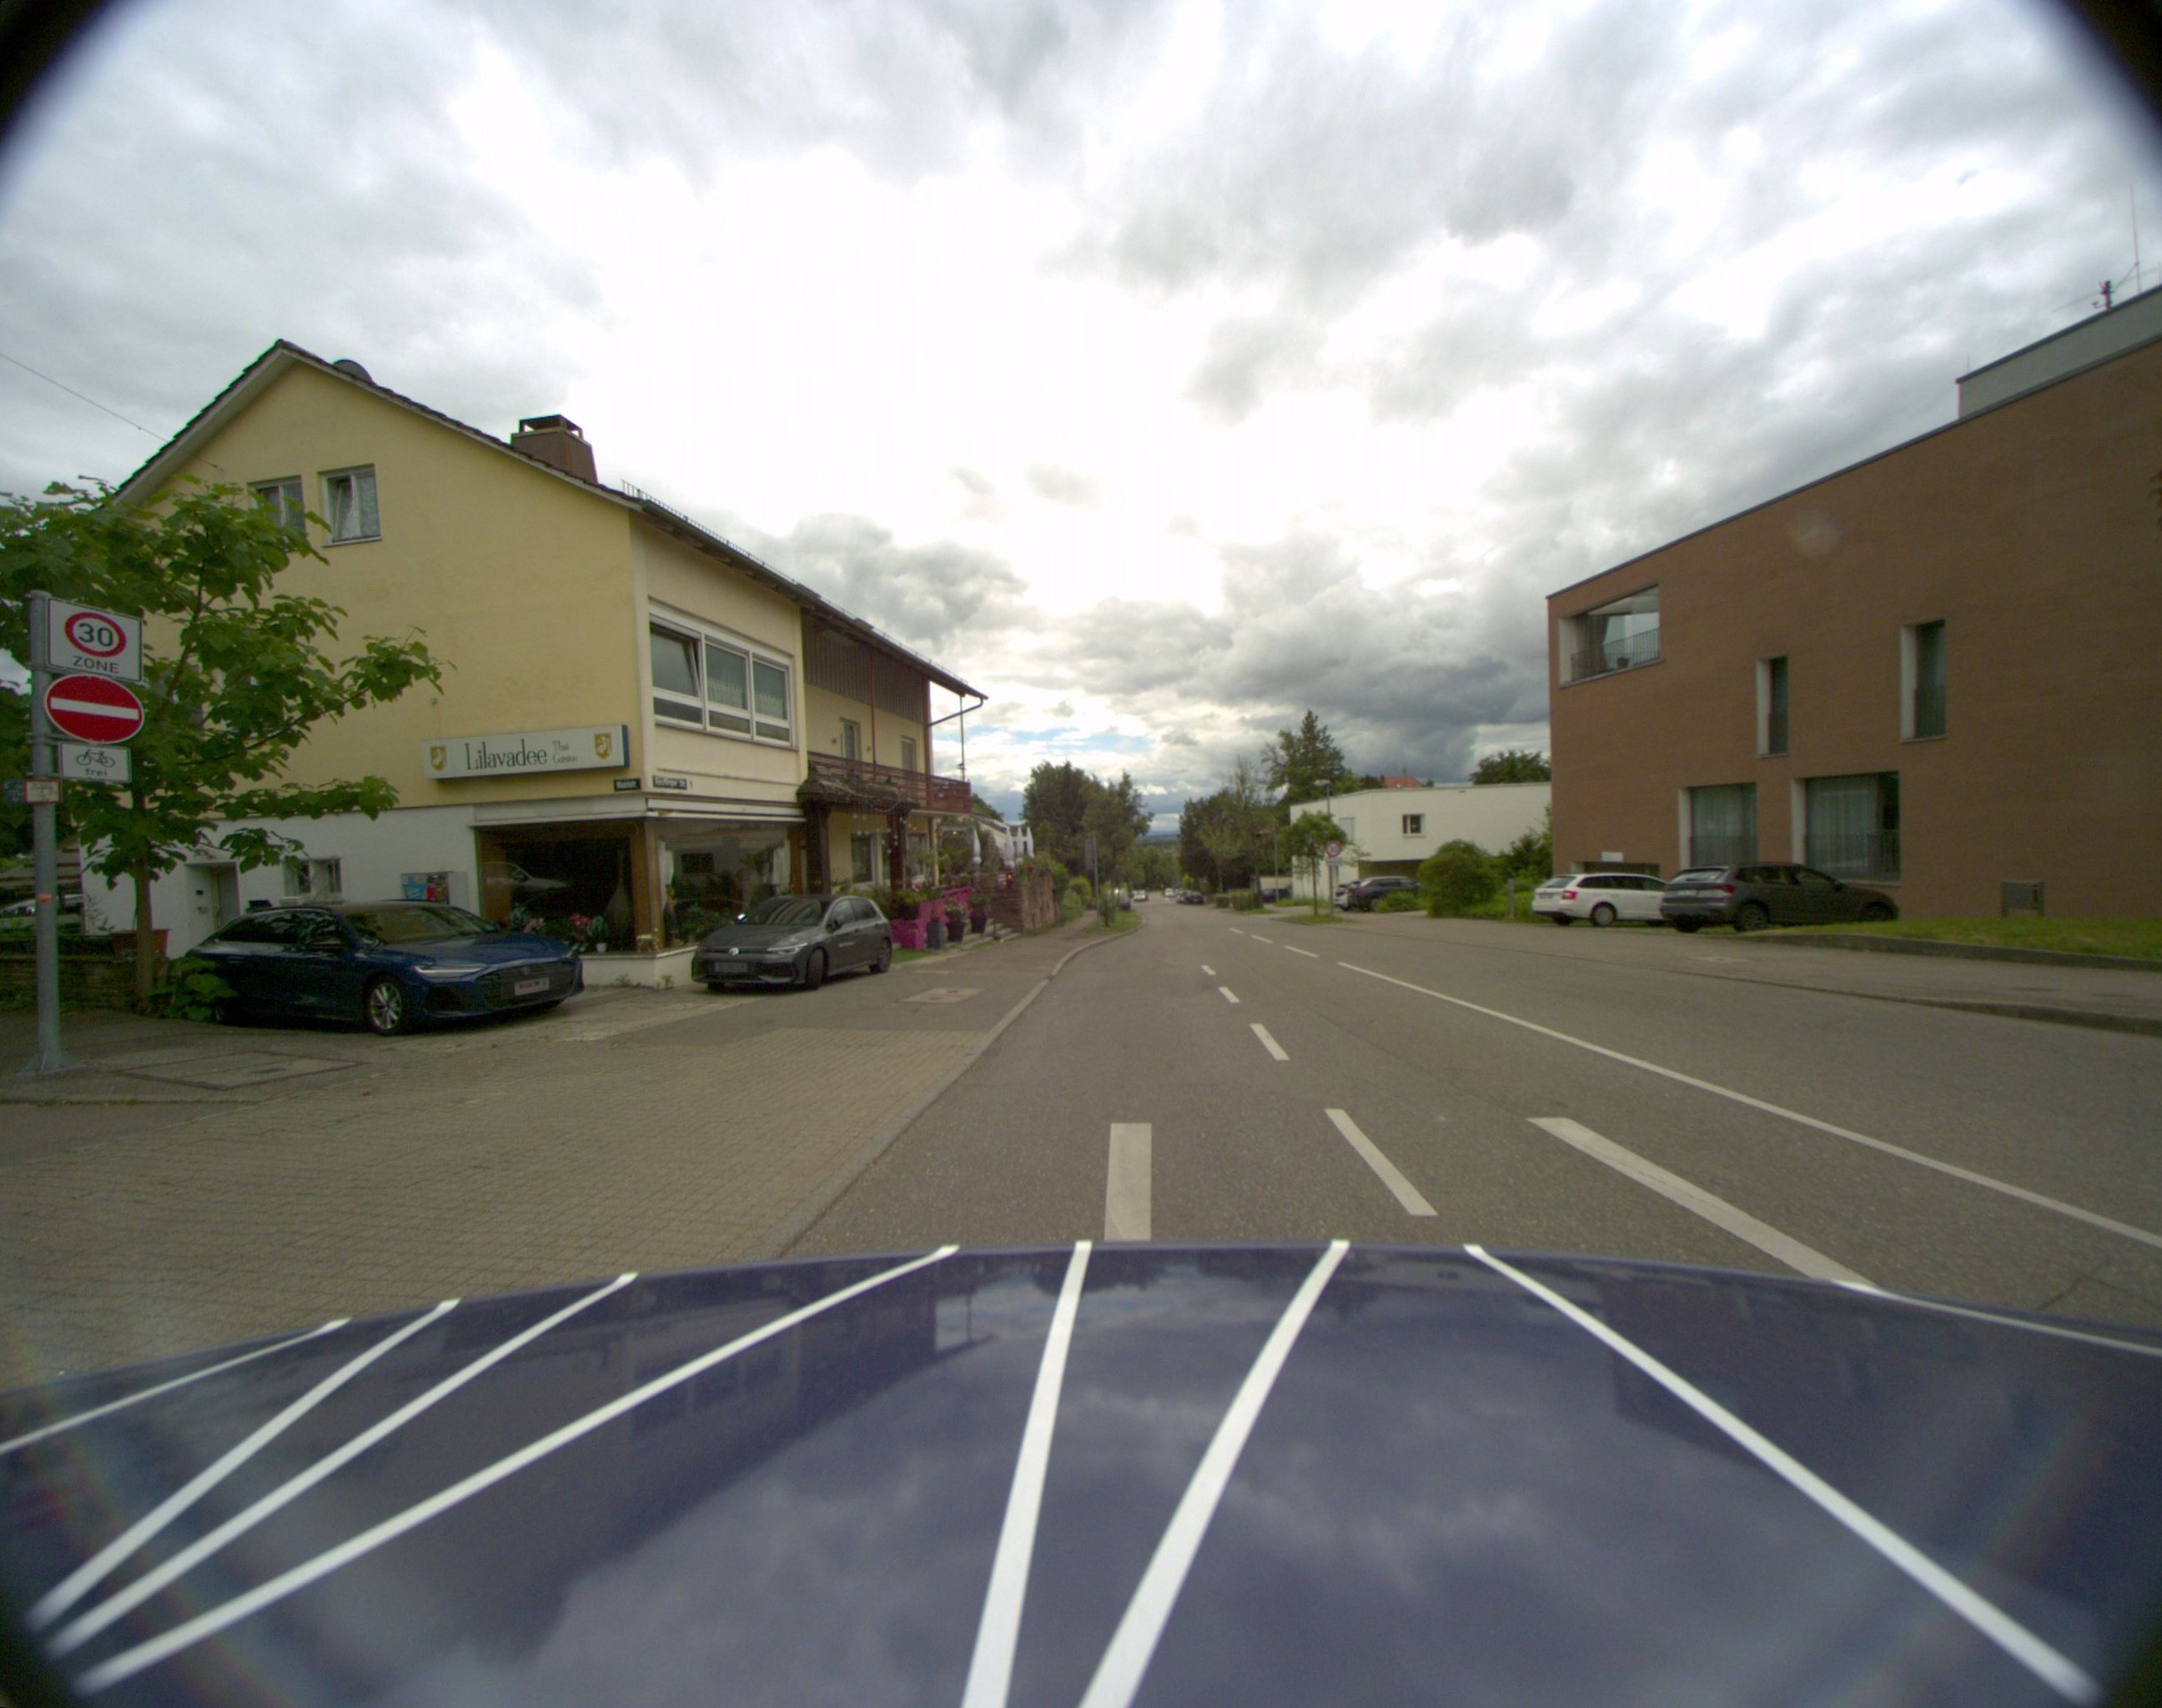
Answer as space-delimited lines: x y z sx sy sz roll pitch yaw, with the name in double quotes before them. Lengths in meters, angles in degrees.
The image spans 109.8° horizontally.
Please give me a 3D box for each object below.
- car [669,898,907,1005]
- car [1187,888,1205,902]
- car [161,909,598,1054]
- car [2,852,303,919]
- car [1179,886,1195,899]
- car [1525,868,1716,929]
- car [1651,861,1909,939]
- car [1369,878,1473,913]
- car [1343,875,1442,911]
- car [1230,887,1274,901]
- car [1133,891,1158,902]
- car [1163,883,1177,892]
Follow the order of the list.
"car" -4.545 1.478 12.620 1.796 1.452 4.332 -1 -4 8
"car" 12.179 4.299 80.572 1.661 1.412 4.004 -2 -3 6
"car" -8.531 1.418 9.282 4.739 1.378 1.802 -2 -1 18
"car" -22.694 0.826 18.846 1.795 1.452 4.336 -2 -4 22
"car" 12.496 4.554 89.569 1.661 1.412 4.372 -2 -3 6
"car" 14.613 1.205 20.707 3.998 1.476 1.727 -1 -3 -3
"car" 14.911 0.973 16.347 3.998 1.476 1.727 -1 -3 -3
"car" 15.599 1.896 35.029 3.996 1.476 1.728 -2 -3 3
"car" 15.053 1.894 36.870 3.996 1.585 1.795 -2 -3 3
"car" 16.545 3.884 73.723 3.995 1.278 1.665 -2 -3 7
"car" 9.444 6.132 110.607 1.722 1.476 4.009 -3 -3 35
"car" 16.205 6.069 137.966 1.884 1.412 4.368 -1 -1 -2
